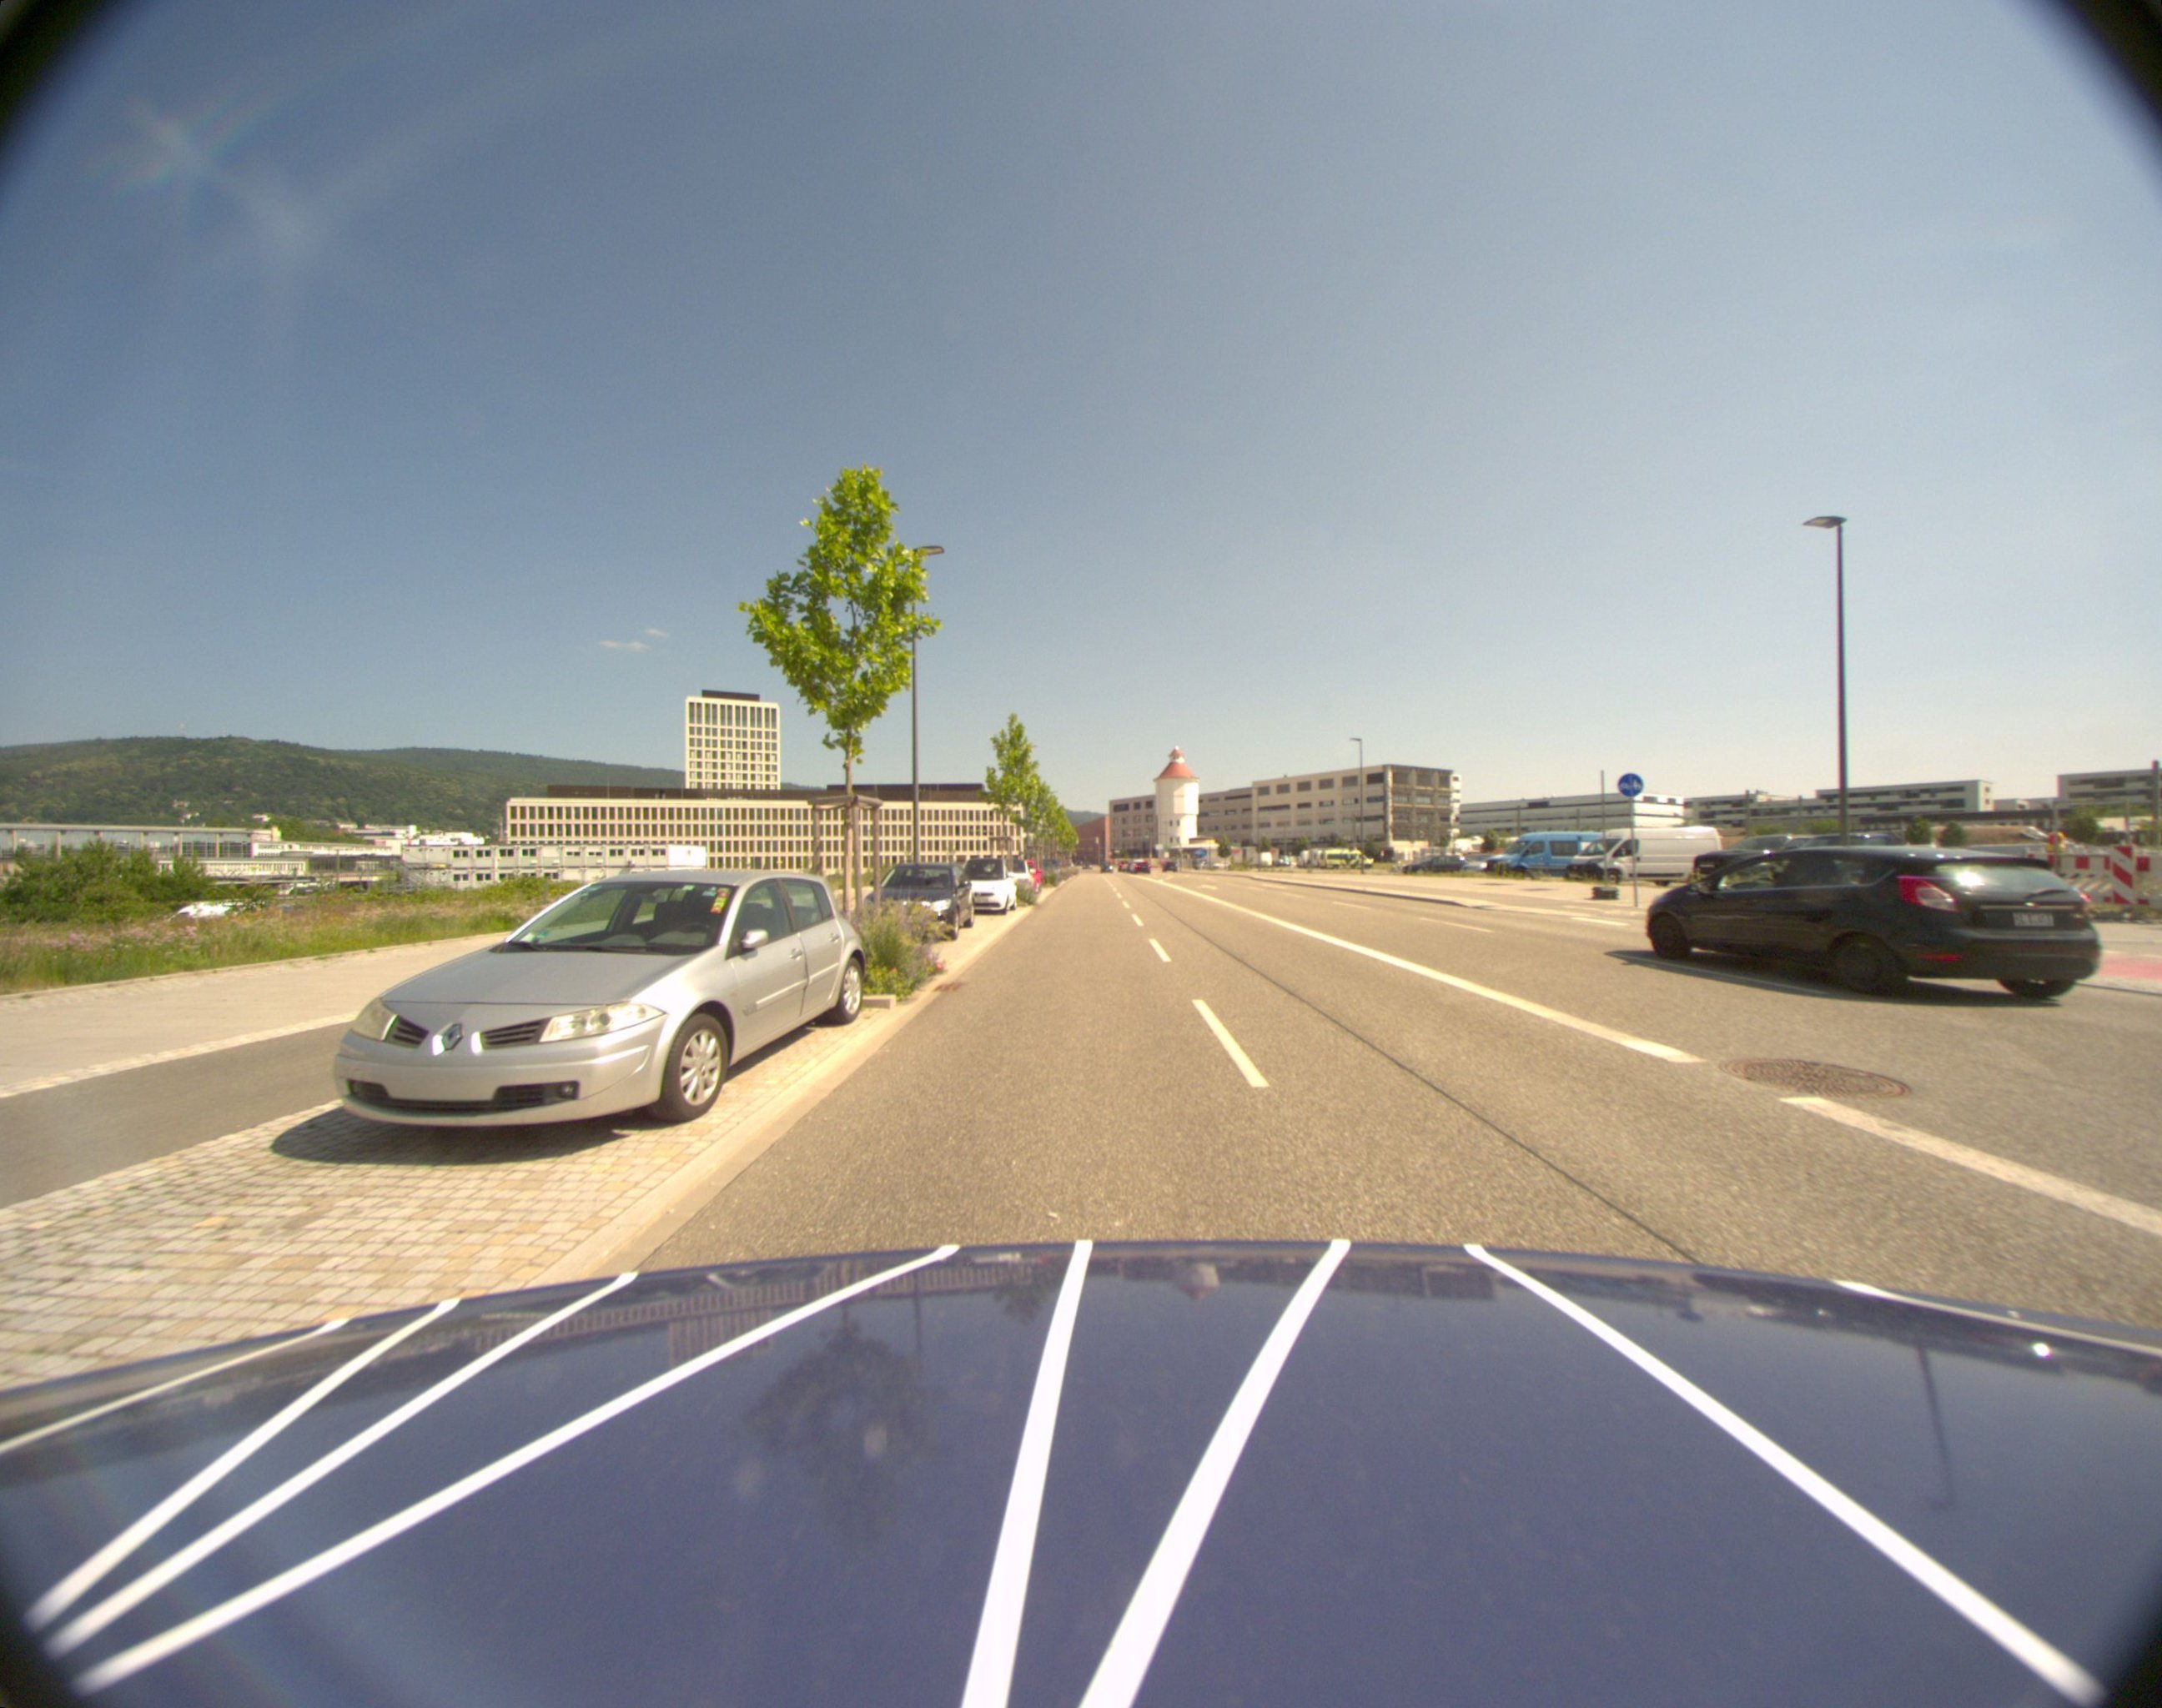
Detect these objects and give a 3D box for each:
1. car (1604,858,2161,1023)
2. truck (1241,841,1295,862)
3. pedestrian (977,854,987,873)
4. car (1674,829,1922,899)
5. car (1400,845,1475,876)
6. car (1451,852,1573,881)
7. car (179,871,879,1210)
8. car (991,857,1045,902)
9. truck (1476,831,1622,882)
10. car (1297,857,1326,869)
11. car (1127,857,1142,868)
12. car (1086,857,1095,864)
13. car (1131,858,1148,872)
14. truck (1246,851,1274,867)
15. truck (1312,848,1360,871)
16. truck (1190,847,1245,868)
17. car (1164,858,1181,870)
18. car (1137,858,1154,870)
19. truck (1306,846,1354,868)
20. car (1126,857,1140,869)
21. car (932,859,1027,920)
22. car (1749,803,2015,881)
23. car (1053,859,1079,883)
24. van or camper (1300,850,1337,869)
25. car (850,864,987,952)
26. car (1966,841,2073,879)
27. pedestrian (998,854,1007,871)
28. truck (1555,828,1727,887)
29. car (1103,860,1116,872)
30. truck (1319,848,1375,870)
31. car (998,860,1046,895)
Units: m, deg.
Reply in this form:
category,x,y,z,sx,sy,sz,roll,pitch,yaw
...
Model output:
category,x,y,z,sx,sy,sz,roll,pitch,yaw
car,8.242,0.735,8.539,1.708,1.344,4.456,0,0,1
truck,40.400,-0.541,164.152,10.951,4.251,3.341,-2,1,-10
pedestrian,-8.723,0.860,67.076,0.782,1.695,0.742,0,0,2
car,23.560,0.321,25.175,5.897,2.153,2.395,-1,0,1
car,22.877,0.429,48.920,3.994,1.892,1.829,0,0,8
car,24.088,0.681,42.589,5.665,1.465,2.107,-1,0,-1
car,-3.128,0.900,5.584,1.913,1.470,4.159,-1,0,4
car,-2.411,0.945,29.700,1.722,1.516,3.641,1,1,1
truck,23.920,0.129,39.029,6.018,2.528,2.275,0,0,2
car,36.014,1.387,118.811,3.876,1.748,1.657,-2,0,-3
car,7.293,1.183,104.393,1.790,1.413,4.282,-1,0,1
car,2.011,1.337,160.074,1.783,1.552,3.832,-1,0,3
car,7.208,1.379,94.224,1.918,1.640,4.731,-1,0,2
truck,30.988,0.816,131.470,2.174,2.639,5.938,0,0,-14
truck,35.606,0.741,106.179,5.850,2.808,2.570,-3,1,0
truck,29.057,0.729,161.553,10.987,4.044,3.297,-2,1,-17
car,12.990,1.391,107.754,1.907,1.618,4.387,0,0,1
car,7.383,1.138,87.164,1.791,1.390,4.572,-1,0,2
truck,36.357,0.461,111.080,6.160,2.884,2.570,-3,1,2
car,7.638,1.324,111.393,1.783,1.672,4.100,2,-1,1
car,-2.810,0.948,22.049,1.913,1.568,4.159,-1,0,4
car,23.435,-0.337,22.409,5.458,2.160,2.395,0,0,-2
car,-0.991,1.149,53.627,1.739,1.599,4.241,1,-1,0
van or camper,35.956,0.805,115.176,4.912,2.646,2.260,-2,0,1
car,-3.112,0.979,15.480,1.793,1.468,4.372,-1,0,1
car,57.935,0.391,46.952,2.004,2.227,3.990,-1,0,-34
pedestrian,-8.061,0.826,78.069,0.733,1.695,0.651,-2,1,2
truck,23.342,0.146,31.833,5.581,2.348,2.275,0,0,-1
car,4.032,1.705,107.987,1.783,1.552,3.832,0,0,0
truck,35.994,0.691,103.033,6.654,2.809,2.602,-2,0,-2
car,-2.597,1.037,34.259,1.722,1.442,4.001,-2,-1,1
